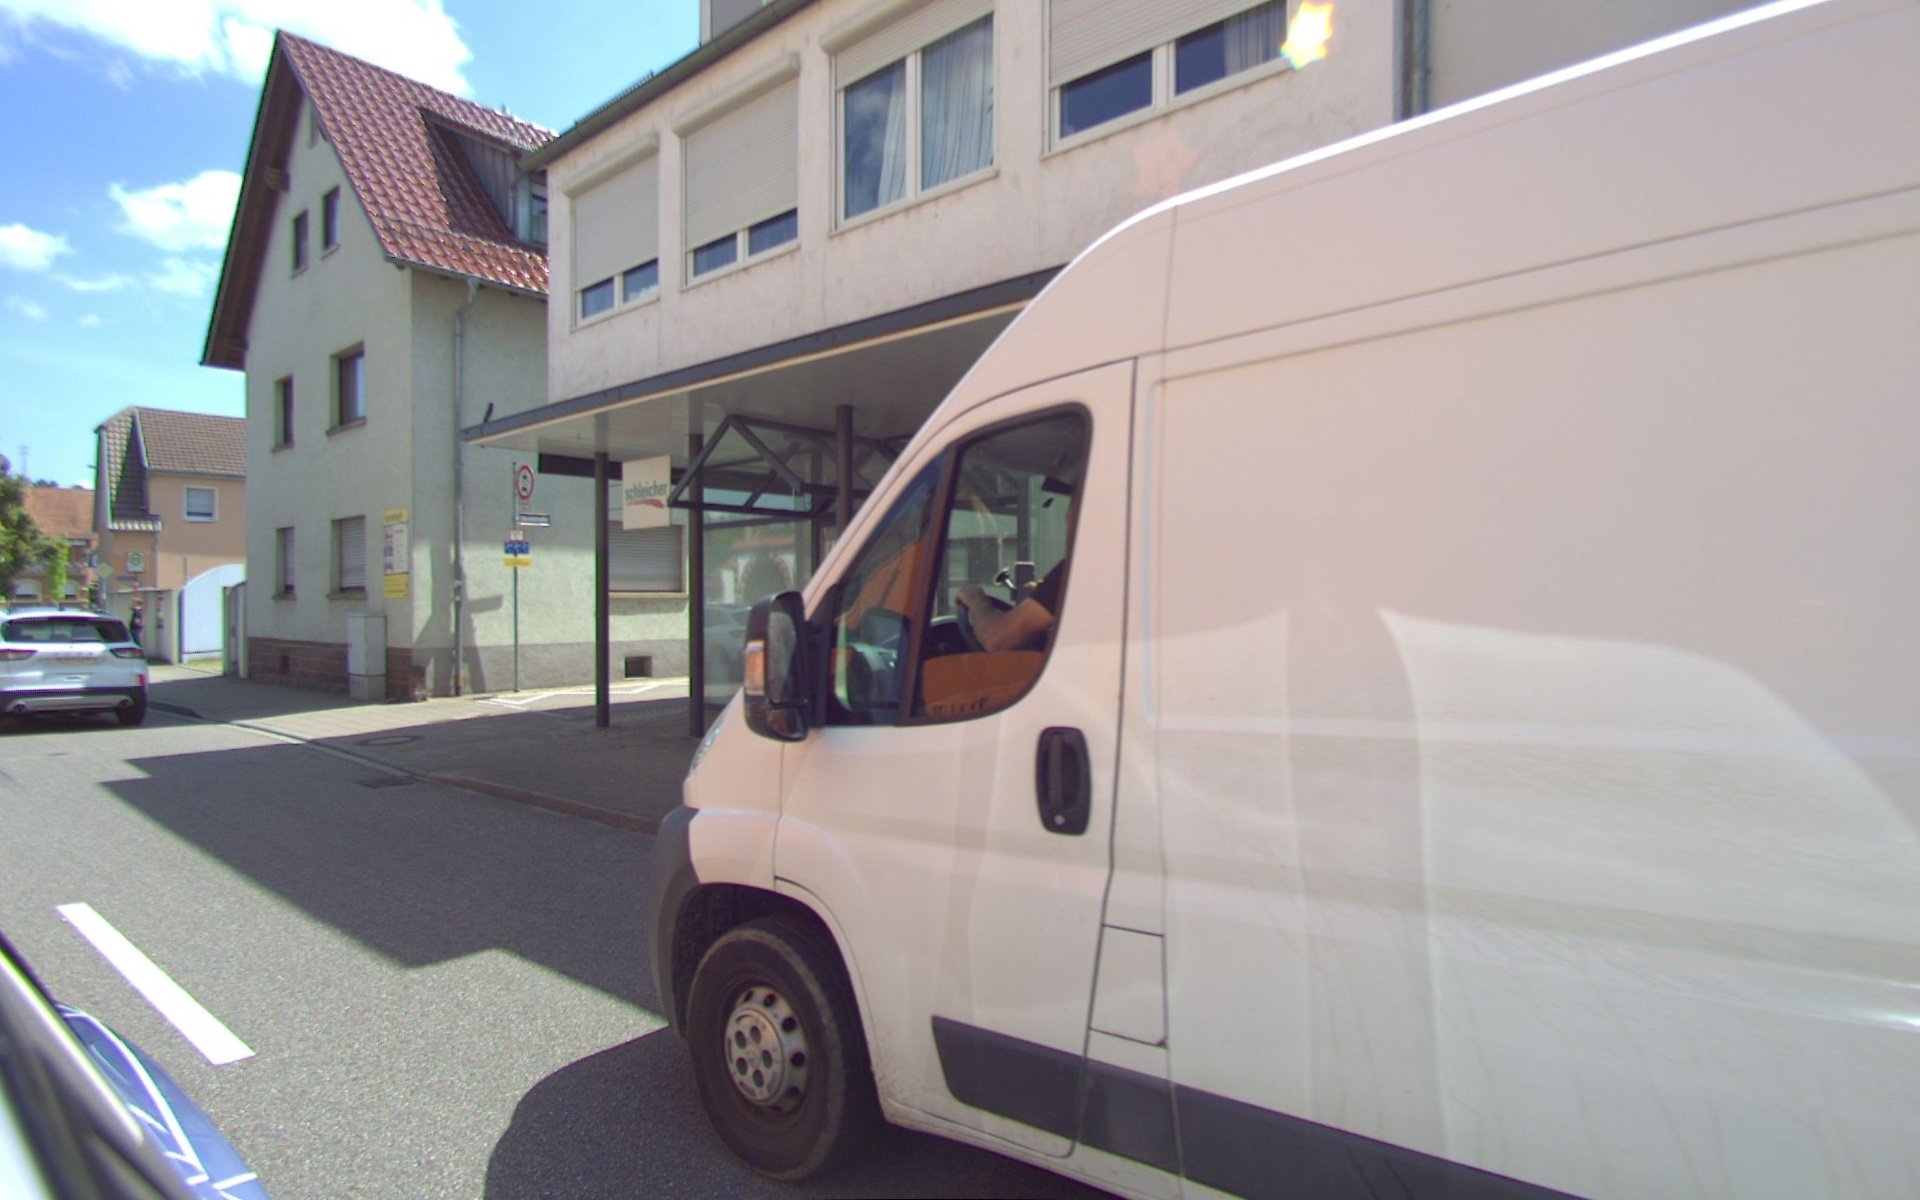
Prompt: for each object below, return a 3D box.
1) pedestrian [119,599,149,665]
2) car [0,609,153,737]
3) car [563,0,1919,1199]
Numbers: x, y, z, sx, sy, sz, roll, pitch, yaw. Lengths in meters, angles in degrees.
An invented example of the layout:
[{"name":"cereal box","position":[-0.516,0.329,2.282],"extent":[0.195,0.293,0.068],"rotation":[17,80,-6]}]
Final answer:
[{"name":"pedestrian","position":[-22.529,0.863,27.604],"extent":[0.475,1.777,0.468],"rotation":[0,0,17]},{"name":"car","position":[-13.090,0.924,14.298],"extent":[4.194,1.566,1.800],"rotation":[0,-2,40]},{"name":"car","position":[1.478,0.185,2.322],"extent":[5.389,2.588,2.118],"rotation":[-1,-2,40]}]
